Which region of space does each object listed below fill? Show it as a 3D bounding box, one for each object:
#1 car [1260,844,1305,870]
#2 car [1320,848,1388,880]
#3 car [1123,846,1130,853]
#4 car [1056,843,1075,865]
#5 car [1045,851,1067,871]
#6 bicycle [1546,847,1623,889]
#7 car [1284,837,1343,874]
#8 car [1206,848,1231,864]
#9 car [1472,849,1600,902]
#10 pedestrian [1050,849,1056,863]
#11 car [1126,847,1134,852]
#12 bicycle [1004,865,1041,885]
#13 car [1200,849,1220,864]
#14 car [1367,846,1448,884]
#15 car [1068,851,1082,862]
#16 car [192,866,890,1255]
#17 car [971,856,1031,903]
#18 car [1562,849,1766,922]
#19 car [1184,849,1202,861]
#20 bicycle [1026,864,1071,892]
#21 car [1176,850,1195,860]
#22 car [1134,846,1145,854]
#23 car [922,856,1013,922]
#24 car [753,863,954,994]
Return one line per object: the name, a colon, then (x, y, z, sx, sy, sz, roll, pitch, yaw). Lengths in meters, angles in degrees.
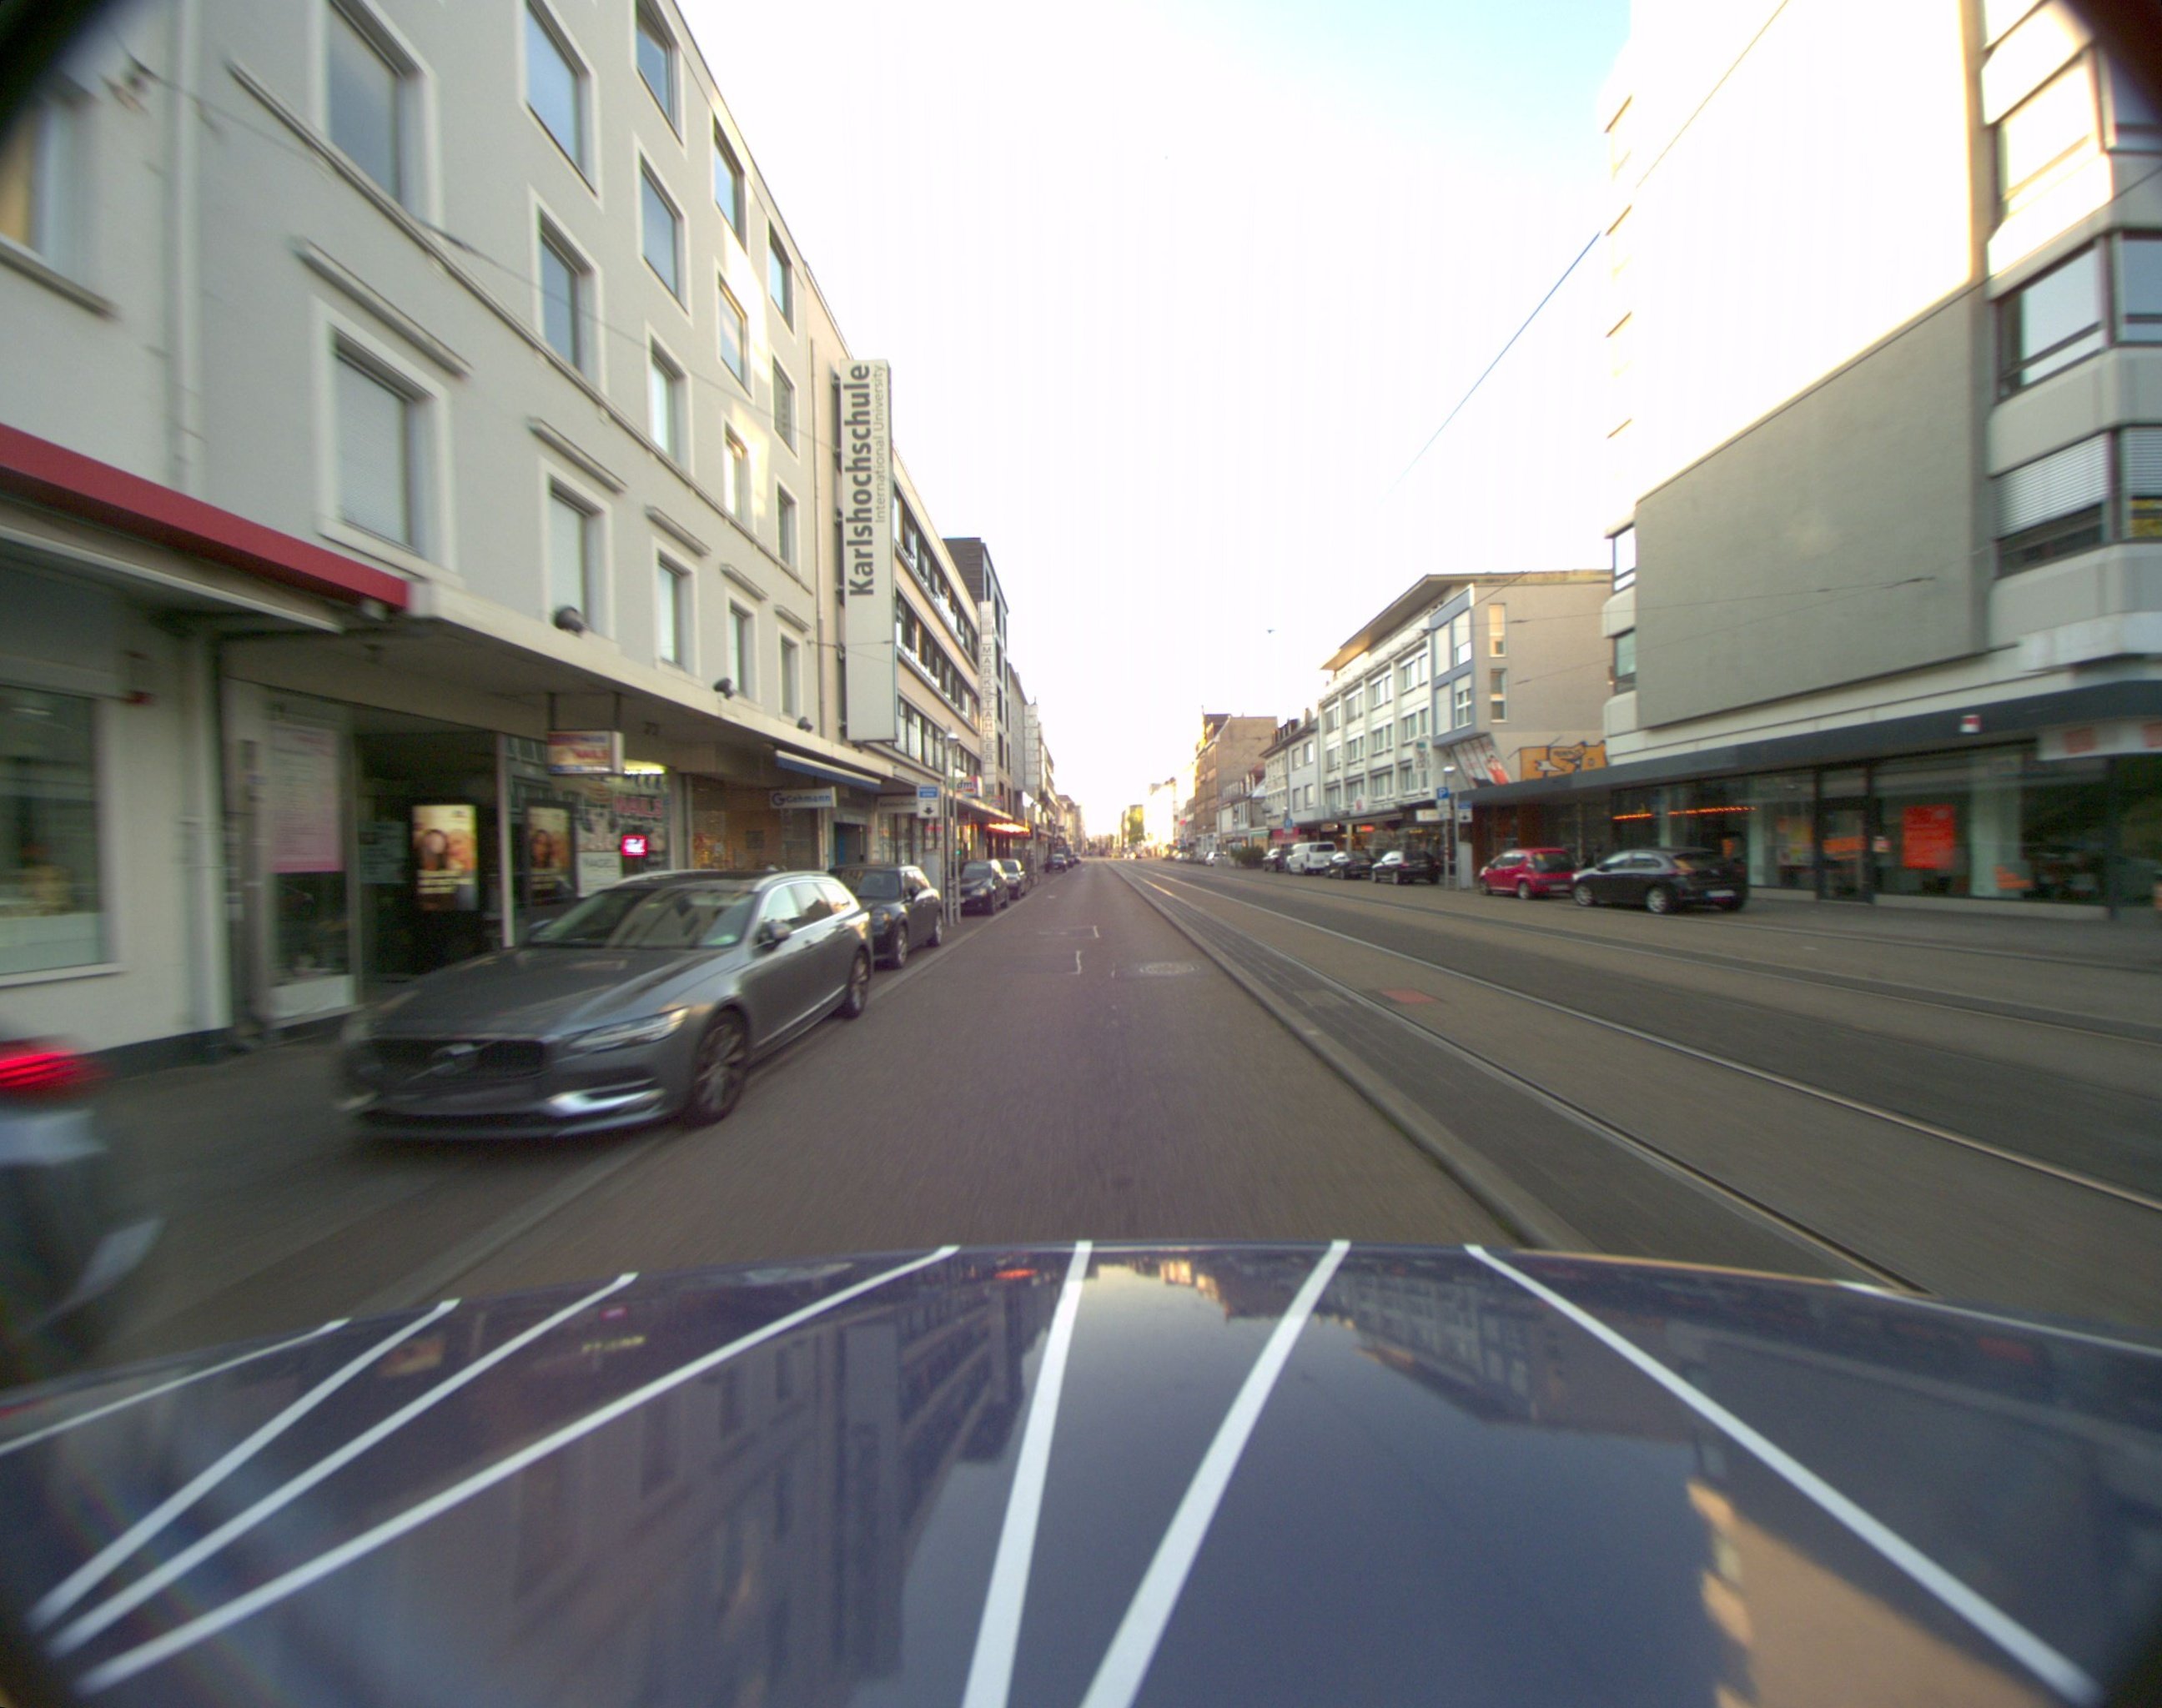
car: (14.345, 0.150, 54.248, 1.998, 1.687, 4.588, -3, 1, 1)
car: (13.902, 0.454, 38.948, 1.876, 1.418, 4.570, -3, 1, 1)
car: (13.926, -1.339, 232.651, 1.998, 1.830, 3.999, -3, 2, 0)
car: (-1.775, -0.029, 88.380, 2.080, 2.434, 5.603, -3, 1, 0)
car: (-2.143, 0.587, 66.019, 1.744, 1.532, 3.965, -1, 1, 1)
bicycle: (17.666, 0.477, 26.690, 2.051, 1.332, 0.875, -3, 1, 1)
car: (14.111, 0.049, 46.460, 1.969, 2.002, 5.099, -3, 1, 0)
car: (14.613, 0.235, 81.162, 1.896, 1.547, 4.622, -3, 1, 1)
car: (13.425, 0.591, 22.681, 1.696, 1.426, 3.592, -2, 0, 1)
pedestrian: (-3.740, 0.245, 100.651, 0.743, 1.746, 0.789, 1, 1, -2)
car: (13.940, -1.223, 216.778, 1.998, 1.434, 3.999, -3, 1, 0)
bicycle: (-2.897, 1.046, 37.549, 1.799, 0.967, 0.575, 1, 1, -2)
car: (14.640, 0.245, 86.285, 1.659, 1.562, 3.470, -3, 1, 1)
car: (13.758, 0.425, 32.248, 1.794, 1.452, 4.091, -1, 0, 2)
car: (-0.901, 0.380, 117.224, 1.998, 1.663, 3.876, -3, 1, 0)
car: (-3.027, 0.973, 5.841, 1.796, 1.524, 4.856, -3, 1, 0)
car: (-2.878, 0.884, 28.204, 1.658, 1.454, 4.022, -3, 1, 1)
car: (13.298, 0.653, 17.675, 1.696, 1.417, 3.965, -3, 0, 1)
car: (15.019, 0.078, 101.884, 1.846, 1.484, 3.816, -3, 1, 1)
bicycle: (-1.365, 1.008, 31.991, 1.844, 1.103, 0.642, -2, 1, -2)
car: (15.615, 0.139, 113.803, 1.999, 1.412, 4.402, -3, 1, -1)
car: (13.237, -0.937, 171.749, 1.998, 1.554, 3.999, -3, 1, 0)
car: (-3.037, 0.901, 21.186, 1.769, 1.505, 4.071, -3, 1, 1)
car: (-3.228, 0.978, 11.668, 1.730, 1.473, 4.000, -3, 1, 1)
